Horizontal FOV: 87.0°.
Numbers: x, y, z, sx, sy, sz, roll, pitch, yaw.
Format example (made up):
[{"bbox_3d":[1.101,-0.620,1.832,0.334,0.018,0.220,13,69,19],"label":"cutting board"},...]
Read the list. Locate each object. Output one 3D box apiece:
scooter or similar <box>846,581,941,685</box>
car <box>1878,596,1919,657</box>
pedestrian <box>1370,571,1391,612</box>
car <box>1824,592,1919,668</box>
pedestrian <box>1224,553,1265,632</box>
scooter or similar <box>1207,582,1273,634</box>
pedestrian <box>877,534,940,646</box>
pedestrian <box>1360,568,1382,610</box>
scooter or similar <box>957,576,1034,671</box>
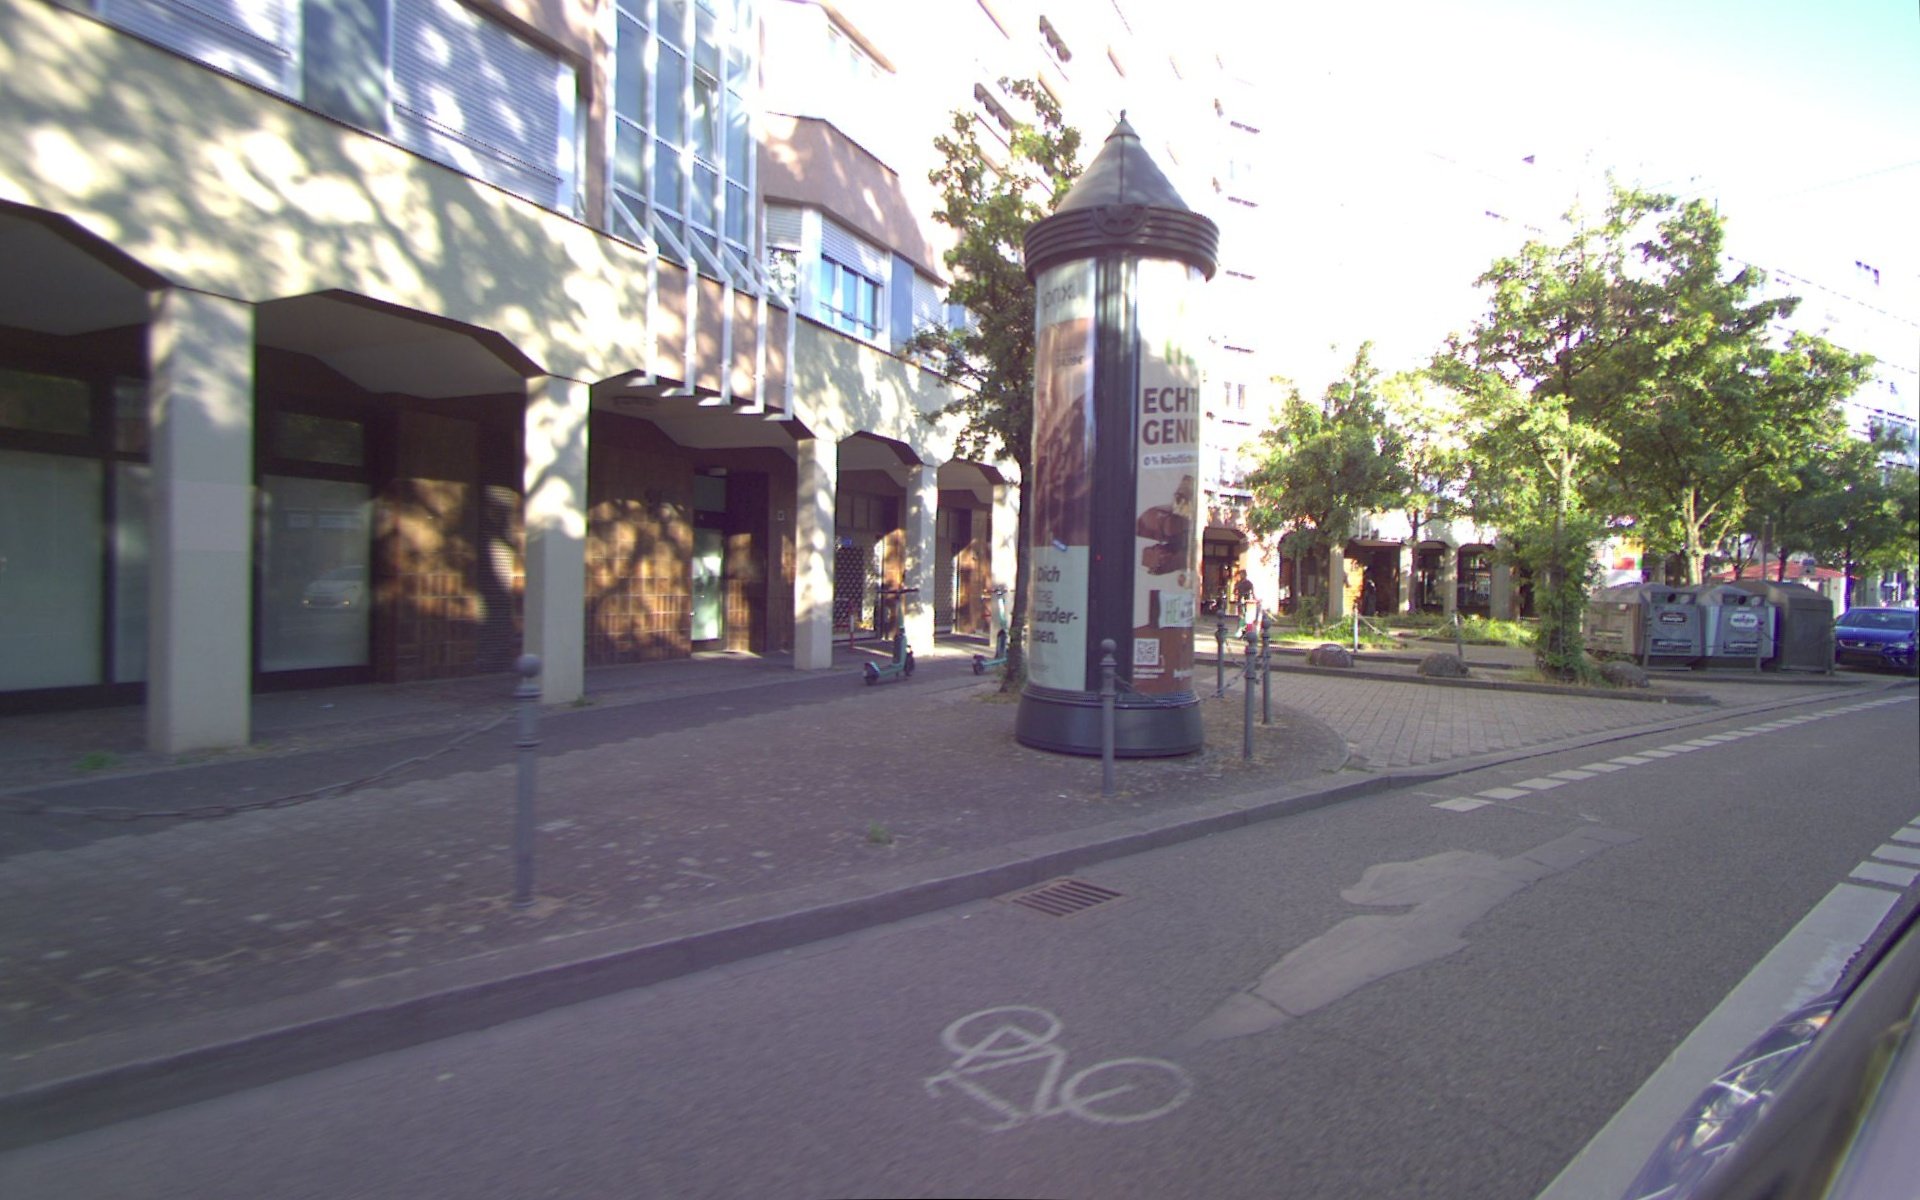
[{"bbox_3d":[-0.818,0.377,12.803,0.481,1.231,1.435,1,1,29],"label":"scooter or similar"},{"bbox_3d":[25.358,0.683,26.111,4.098,1.483,1.707,0,3,-37],"label":"car"},{"bbox_3d":[18.721,-0.386,45.064,0.767,1.828,0.722,2,1,16],"label":"pedestrian"},{"bbox_3d":[20.917,0.619,22.549,4.171,1.501,1.707,0,3,-38],"label":"car"},{"bbox_3d":[7.396,-0.196,26.346,0.760,2.006,0.642,1,1,-31],"label":"pedestrian"},{"bbox_3d":[6.614,0.173,23.957,0.548,1.160,1.459,0,1,-35],"label":"scooter or similar"},{"bbox_3d":[-0.949,-0.194,18.641,0.811,2.006,0.839,1,1,30],"label":"pedestrian"},{"bbox_3d":[18.681,-0.521,46.025,0.696,1.893,0.622,0,1,-39],"label":"pedestrian"},{"bbox_3d":[0.526,0.314,14.549,0.481,1.290,1.435,1,1,29],"label":"scooter or similar"}]
